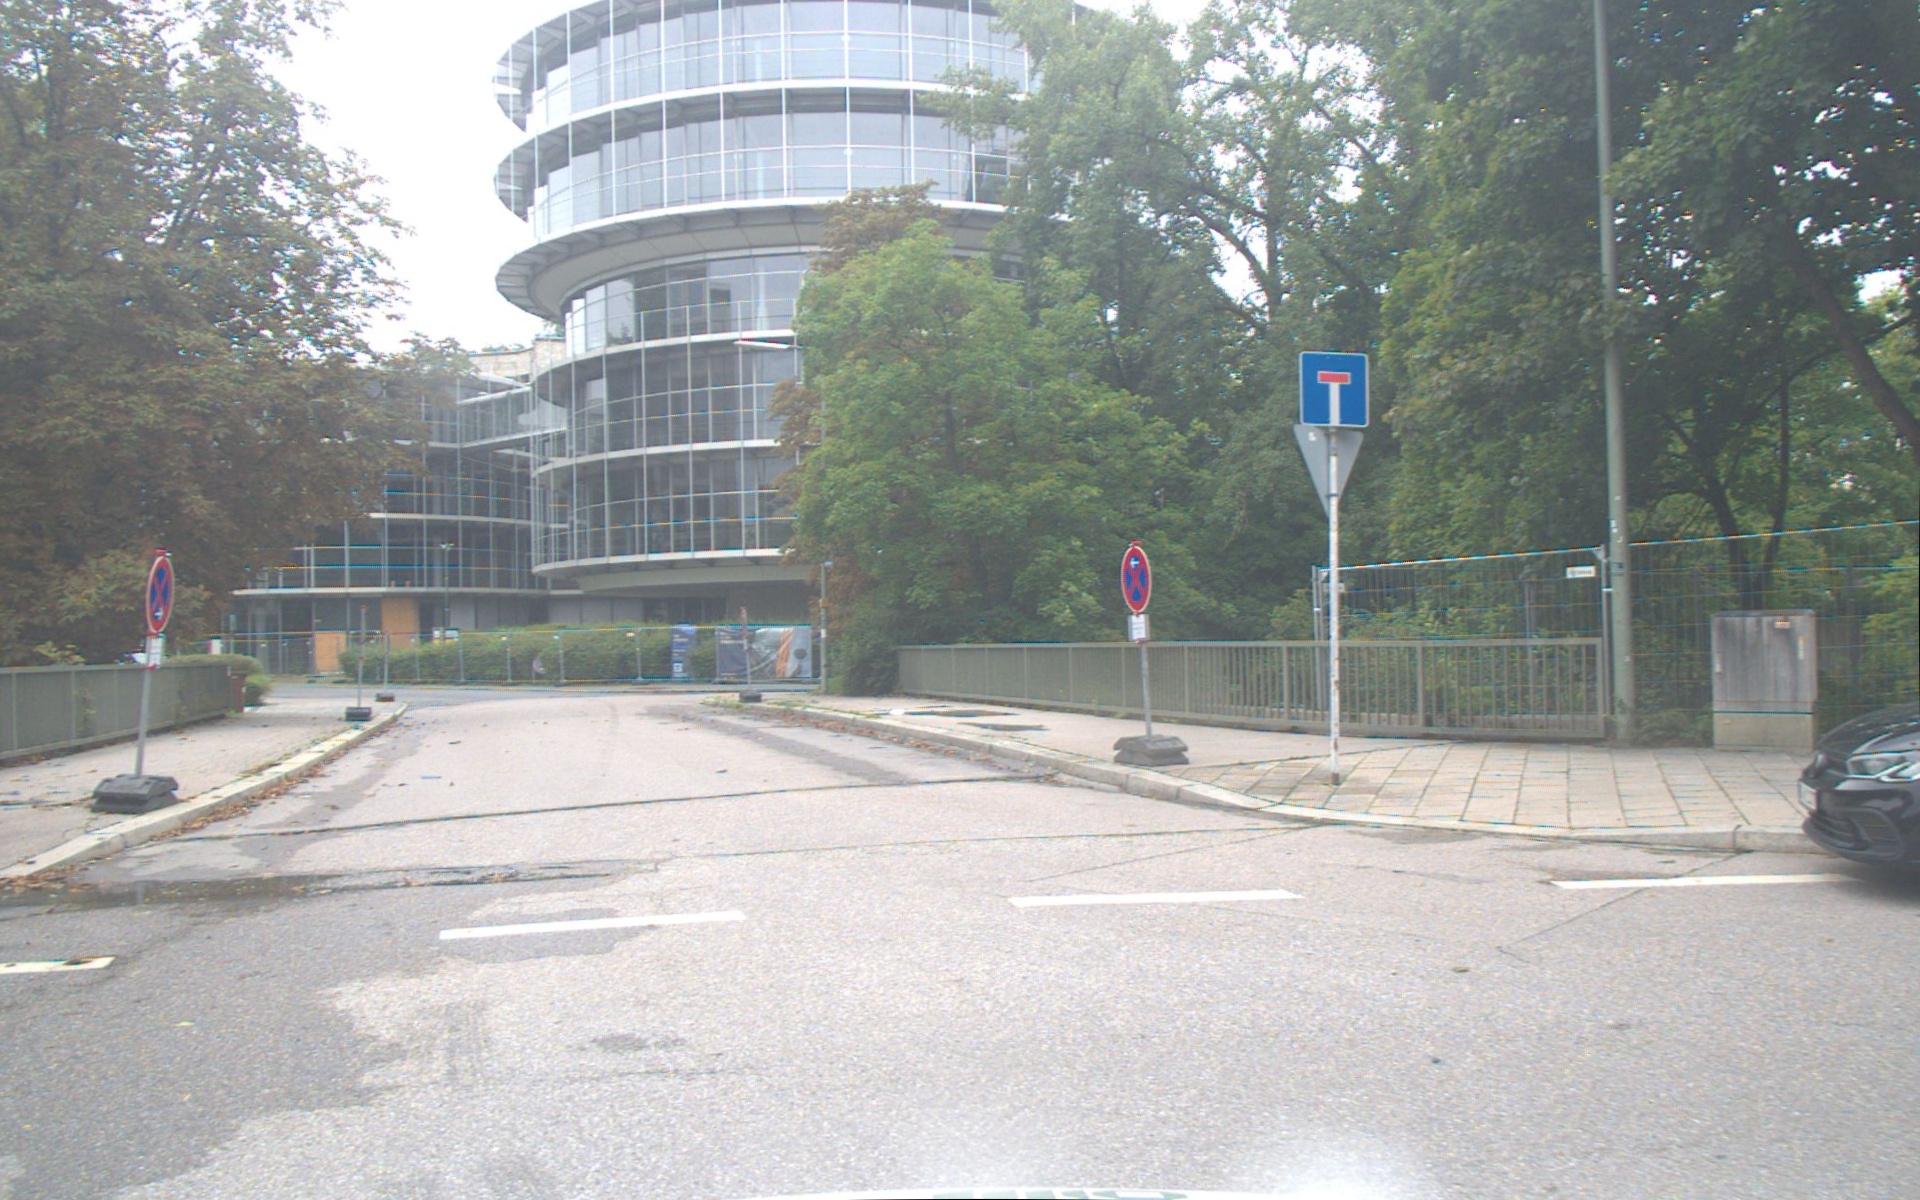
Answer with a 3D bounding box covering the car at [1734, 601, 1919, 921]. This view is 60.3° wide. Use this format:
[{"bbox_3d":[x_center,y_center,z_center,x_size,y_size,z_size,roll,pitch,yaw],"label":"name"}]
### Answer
[{"bbox_3d":[6.222,0.722,8.294,3.944,1.458,2.001,-2,0,16],"label":"car"}]
